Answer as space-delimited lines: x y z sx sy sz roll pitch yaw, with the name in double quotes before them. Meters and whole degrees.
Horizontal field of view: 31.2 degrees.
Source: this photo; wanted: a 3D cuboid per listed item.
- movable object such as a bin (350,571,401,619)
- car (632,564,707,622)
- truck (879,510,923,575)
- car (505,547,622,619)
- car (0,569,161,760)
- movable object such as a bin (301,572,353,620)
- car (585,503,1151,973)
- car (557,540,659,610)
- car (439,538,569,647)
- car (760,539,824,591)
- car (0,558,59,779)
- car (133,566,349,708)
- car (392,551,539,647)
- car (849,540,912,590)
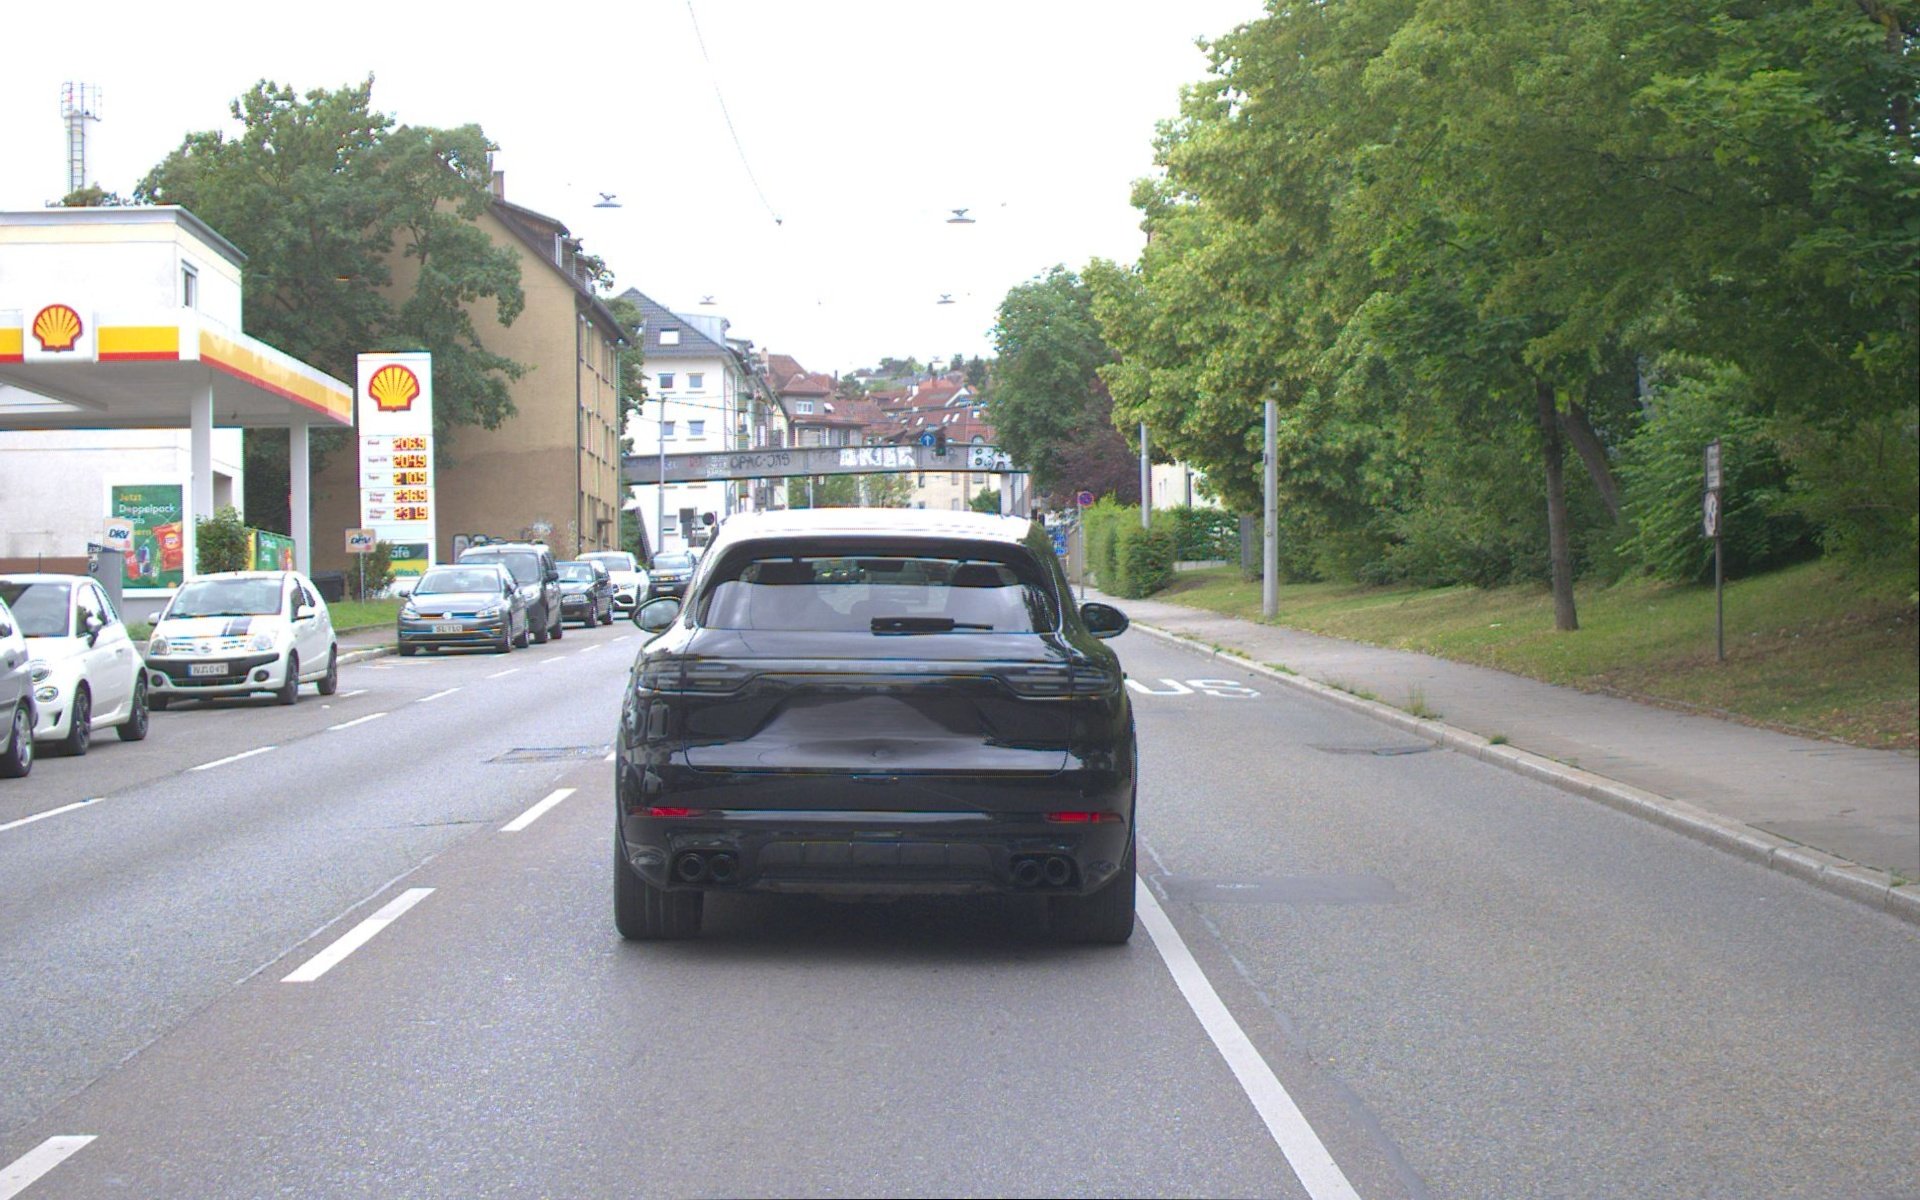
"movable object such as a bin" -17.333 -0.148 102.017 1.392 1.423 0.913 0 1 -3
"car" -8.780 -0.231 104.251 1.783 1.603 4.264 -3 1 1
"truck" -3.246 -3.128 189.192 2.266 3.413 9.879 -1 1 -1
"car" -8.418 -0.384 73.365 1.798 1.426 4.743 -2 1 2
"car" -7.900 0.503 28.902 1.547 1.470 3.604 -1 1 -1
"movable object such as a bin" -18.762 -0.127 101.949 1.392 1.423 0.913 0 1 -3
"car" -0.335 0.442 14.158 1.993 1.656 4.000 0 1 0
"car" -8.429 -0.612 82.692 1.915 1.572 4.700 -2 1 0
"car" -8.180 -0.158 62.034 1.851 1.829 4.702 -2 1 -2
"car" -5.222 -1.094 107.205 1.797 1.520 4.000 -2 1 -1
"car" -7.643 0.537 23.806 1.727 1.553 4.082 -3 1 -1
"car" -7.933 0.373 38.209 1.619 1.420 3.665 -1 1 0
"car" -8.042 -0.044 56.219 1.790 1.445 4.218 -2 1 -1
"car" -2.295 -1.019 99.790 1.741 1.395 4.000 0 1 0
